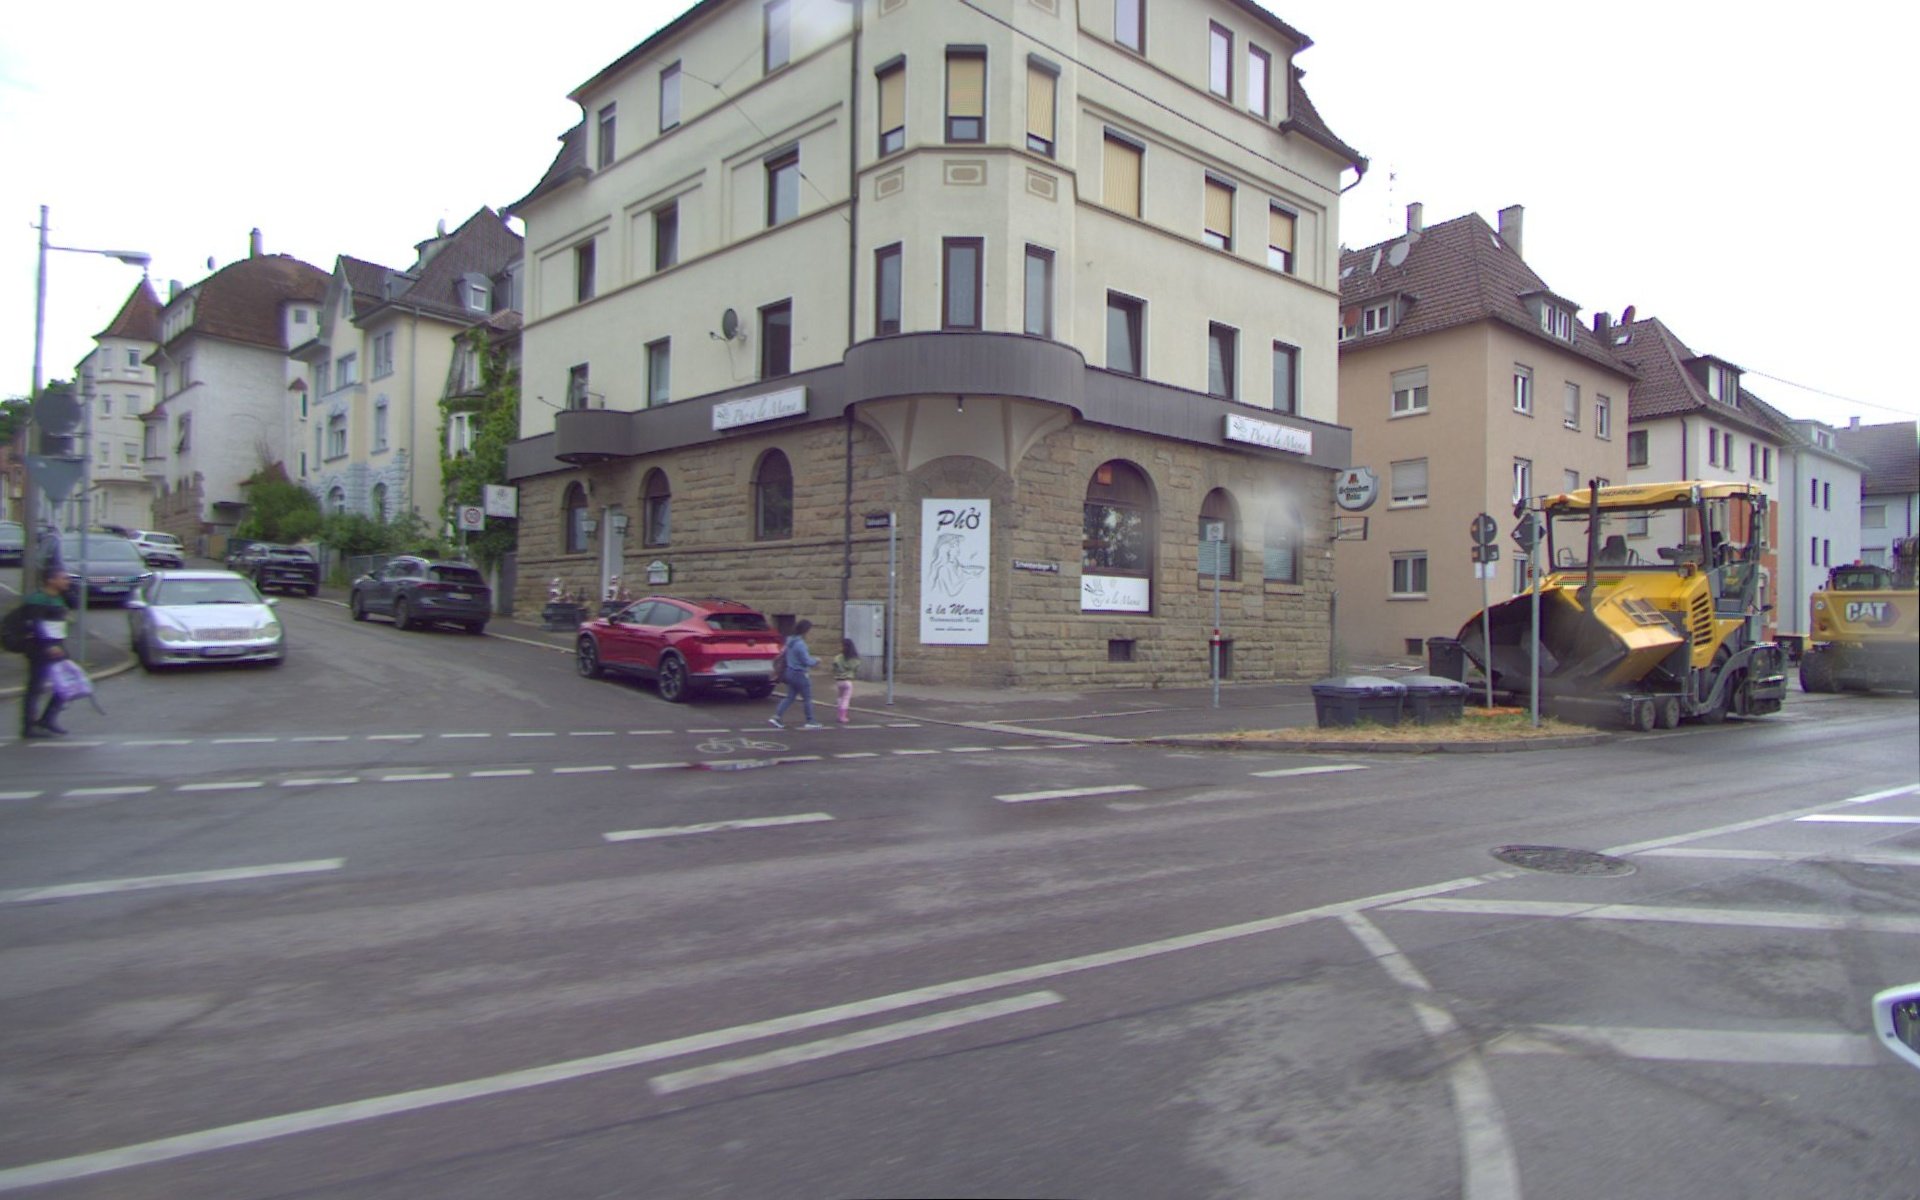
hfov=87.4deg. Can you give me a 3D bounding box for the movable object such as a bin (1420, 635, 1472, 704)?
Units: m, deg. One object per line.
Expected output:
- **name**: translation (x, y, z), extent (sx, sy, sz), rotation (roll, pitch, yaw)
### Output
- **movable object such as a bin**: translation (9.654, 1.351, 19.931), extent (0.877, 1.239, 1.202), rotation (0, 1, 28)

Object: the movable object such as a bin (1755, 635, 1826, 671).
- **movable object such as a bin**: translation (34.785, 2.240, 42.041), extent (3.966, 1.372, 1.541), rotation (3, -1, -39)

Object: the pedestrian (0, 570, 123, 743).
- **pedestrian**: translation (-9.161, 0.532, 10.202), extent (0.987, 1.652, 0.879), rotation (-1, 1, -40)

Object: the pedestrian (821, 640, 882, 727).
- **pedestrian**: translation (-1.534, 1.155, 14.107), extent (0.720, 1.139, 0.741), rotation (0, 1, -17)

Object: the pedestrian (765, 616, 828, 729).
- **pedestrian**: translation (-2.169, 0.940, 13.332), extent (0.793, 1.420, 0.781), rotation (0, 1, -10)

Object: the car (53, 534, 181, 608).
- **car**: translation (-20.522, -0.737, 24.405), extent (4.205, 1.404, 1.876), rotation (8, 6, 42)

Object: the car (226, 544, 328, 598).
- **car**: translation (-22.635, -0.977, 33.221), extent (4.205, 1.404, 1.877), rotation (8, 6, 42)

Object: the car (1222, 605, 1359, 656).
- **car**: translation (10.649, 0.928, 32.600), extent (1.833, 1.461, 3.961), rotation (-1, 1, -34)

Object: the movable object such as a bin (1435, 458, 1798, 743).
- **movable object such as a bin**: translation (10.875, -0.027, 16.550), extent (5.919, 3.908, 2.760), rotation (-1, 1, -32)

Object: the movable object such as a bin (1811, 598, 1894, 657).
- **movable object such as a bin**: translation (43.801, 1.302, 49.298), extent (4.580, 2.719, 1.981), rotation (-1, 1, -34)

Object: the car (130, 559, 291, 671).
- **car**: translation (-12.160, 0.155, 16.319), extent (1.870, 1.404, 4.220), rotation (0, 4, -37)

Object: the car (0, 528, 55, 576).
- **car**: translation (-33.987, -1.751, 36.029), extent (4.205, 1.404, 1.877), rotation (8, 6, 42)

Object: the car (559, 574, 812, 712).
- **car**: translation (-4.642, 0.572, 16.597), extent (4.480, 1.595, 1.926), rotation (8, 6, 42)

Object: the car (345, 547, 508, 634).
- **car**: translation (-12.864, -0.287, 24.088), extent (4.480, 1.595, 2.066), rotation (8, 6, 42)

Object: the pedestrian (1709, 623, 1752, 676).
- **pedestrian**: translation (24.191, 1.536, 31.525), extent (1.080, 1.610, 0.759), rotation (-1, 1, -35)

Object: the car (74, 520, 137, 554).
- **car**: translation (-42.875, -3.170, 50.374), extent (4.205, 1.404, 1.877), rotation (8, 6, 42)

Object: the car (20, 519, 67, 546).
- **car**: translation (-59.103, -4.364, 64.764), extent (4.205, 1.404, 1.877), rotation (8, 6, 42)

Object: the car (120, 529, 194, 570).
- **car**: translation (-34.647, -2.193, 43.307), extent (4.205, 1.404, 1.877), rotation (8, 6, 42)

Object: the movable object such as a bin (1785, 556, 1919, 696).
- **movable object such as a bin**: translation (23.072, 0.687, 25.029), extent (4.085, 3.215, 2.853), rotation (4, -1, -35)
